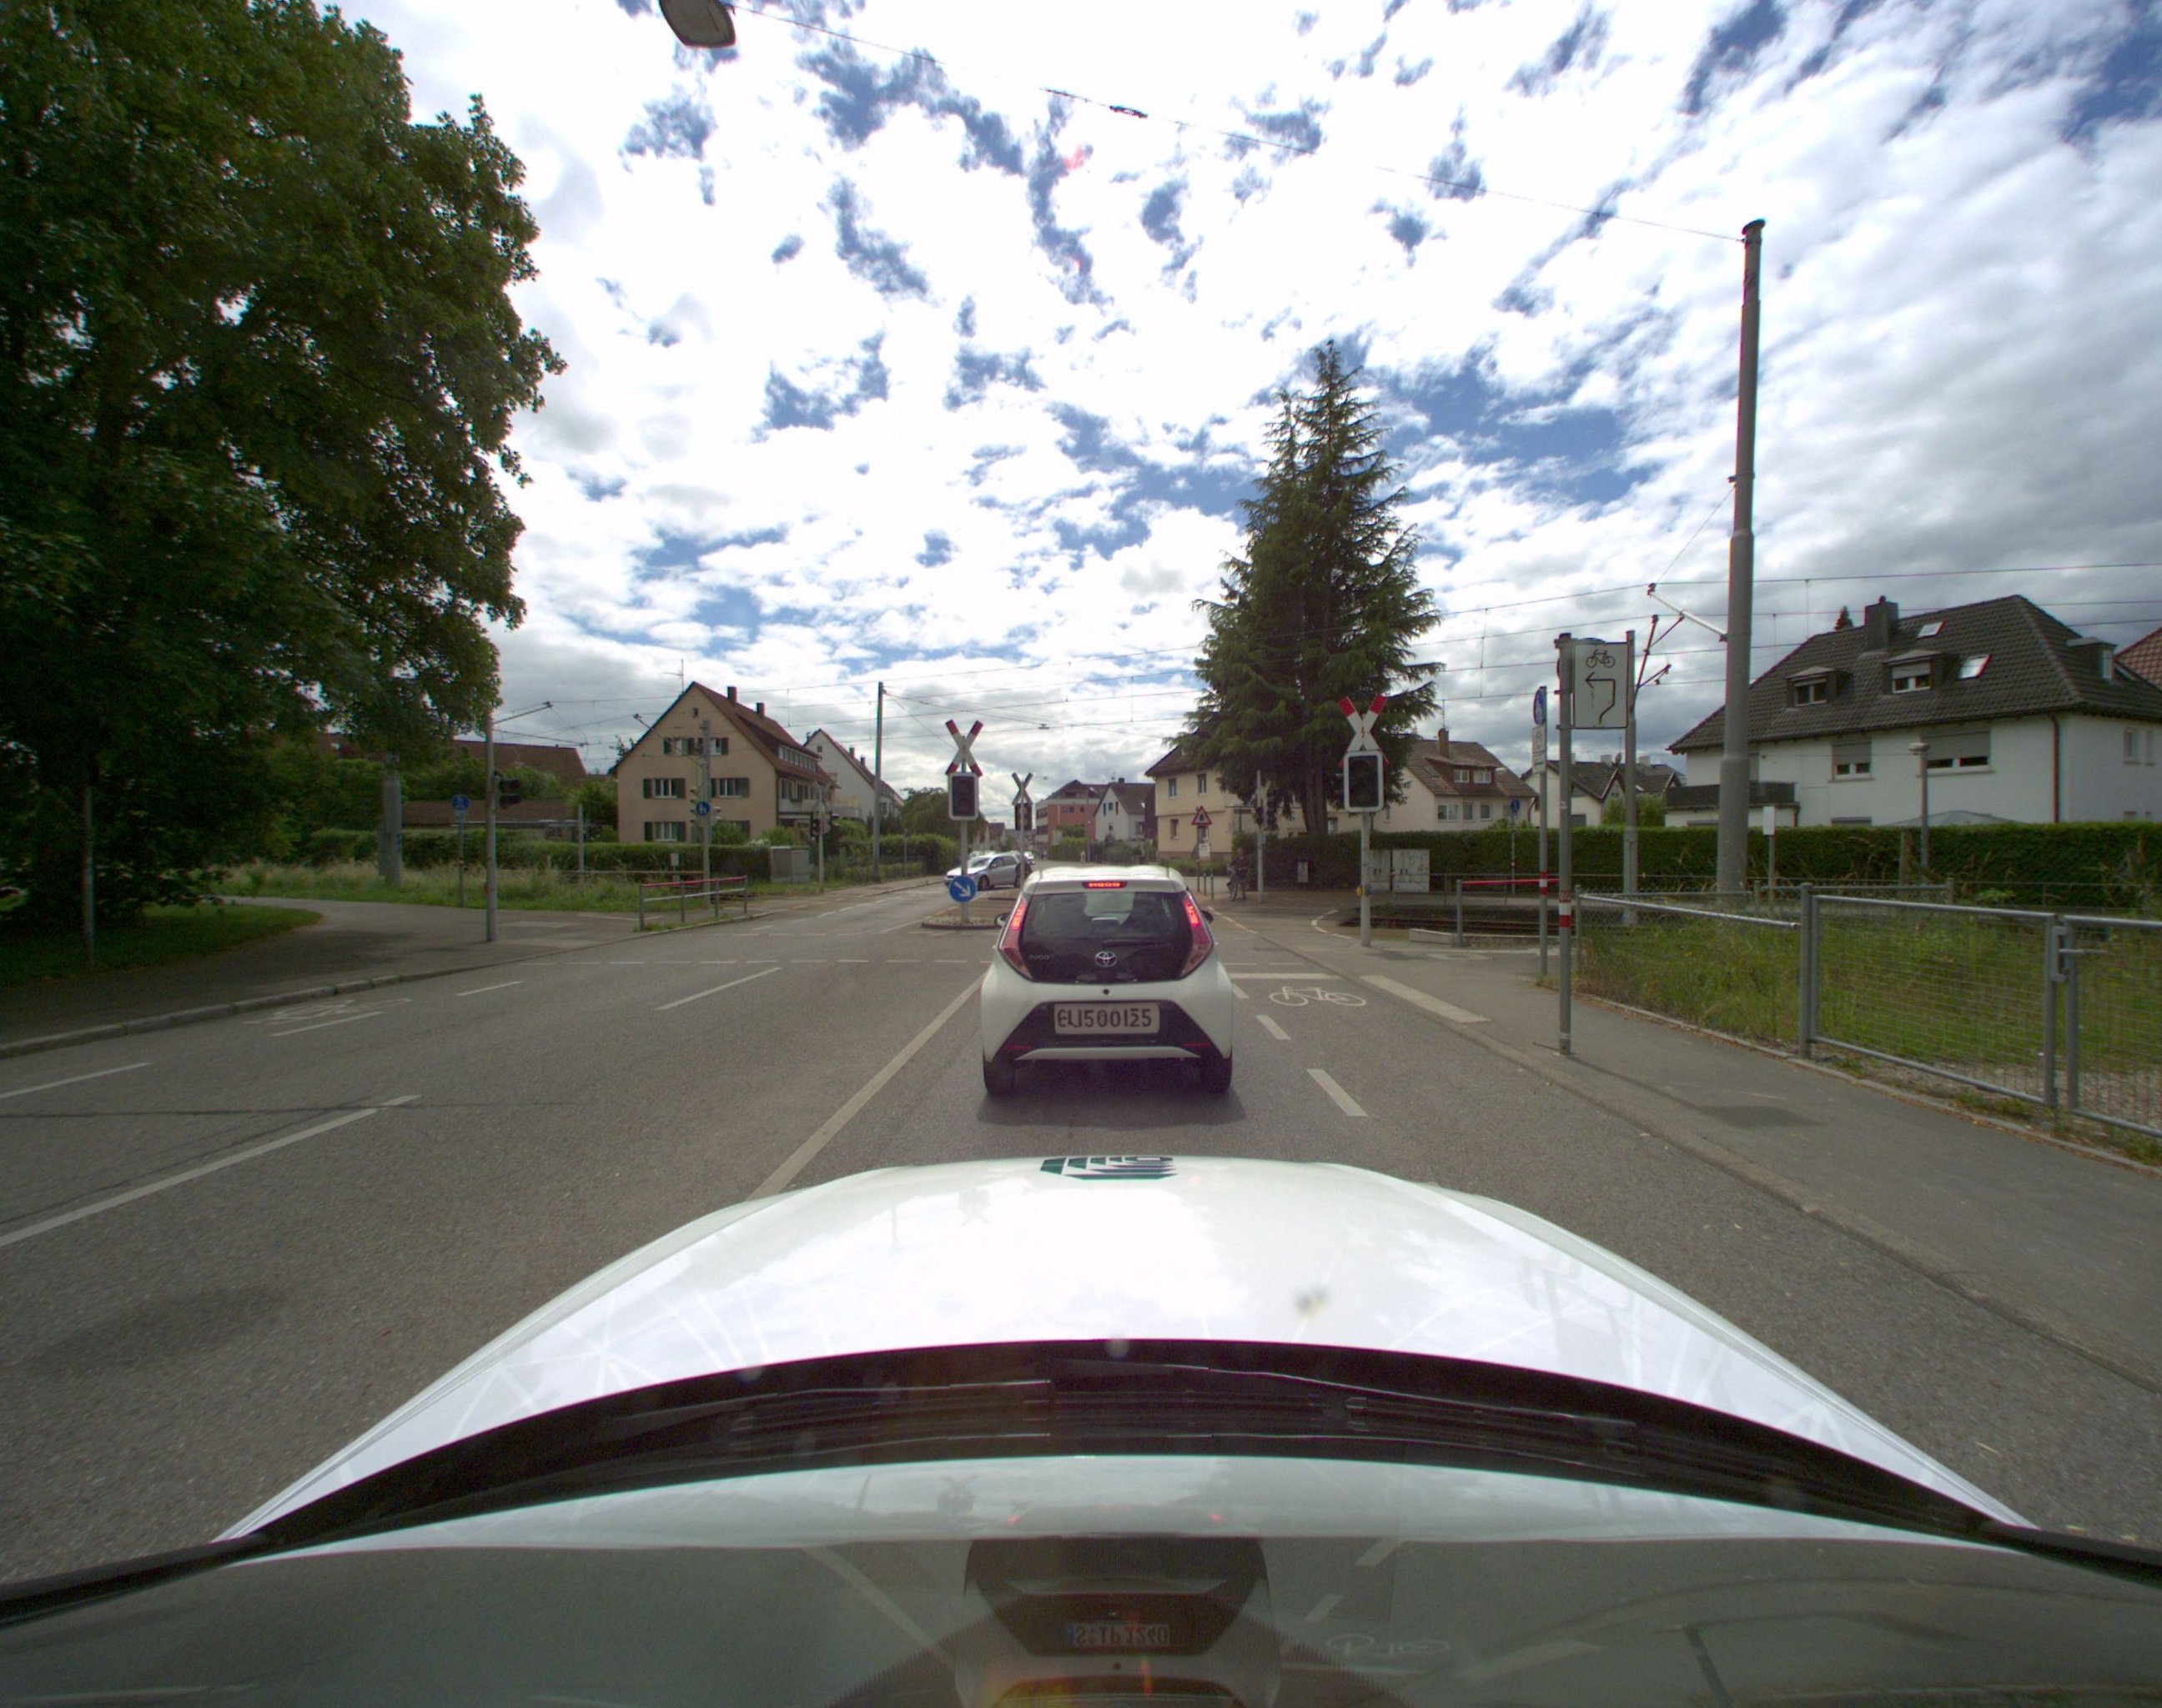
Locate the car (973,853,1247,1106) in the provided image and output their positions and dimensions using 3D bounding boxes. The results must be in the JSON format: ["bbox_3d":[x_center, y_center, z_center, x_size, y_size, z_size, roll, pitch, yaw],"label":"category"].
[{"bbox_3d":[0.233,0.764,6.850,1.615,1.486,4.001,-1,-1,2],"label":"car"}]

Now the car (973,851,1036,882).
[{"bbox_3d":[-3.798,0.599,40.829,1.560,1.510,2.804,0,-1,44],"label":"car"}]

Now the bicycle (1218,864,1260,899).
[{"bbox_3d":[5.123,0.876,26.346,0.923,1.040,1.925,-2,0,23],"label":"bicycle"}]

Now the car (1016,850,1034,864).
[{"bbox_3d":[-6.862,0.341,100.011,1.775,1.561,4.154,-1,0,-10],"label":"car"}]

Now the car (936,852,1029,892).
[{"bbox_3d":[-4.121,0.726,34.657,1.672,1.458,4.096,-1,1,33],"label":"car"}]

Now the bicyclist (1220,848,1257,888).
[{"bbox_3d":[5.075,0.429,26.259,0.923,1.247,1.108,-2,0,23],"label":"bicyclist"}]

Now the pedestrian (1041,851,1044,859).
[{"bbox_3d":[-6.574,0.202,139.874,0.413,1.437,0.436,0,0,-9],"label":"pedestrian"}]

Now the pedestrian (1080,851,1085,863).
[{"bbox_3d":[0.198,0.368,102.271,0.440,1.437,0.410,0,0,-38],"label":"pedestrian"}]
